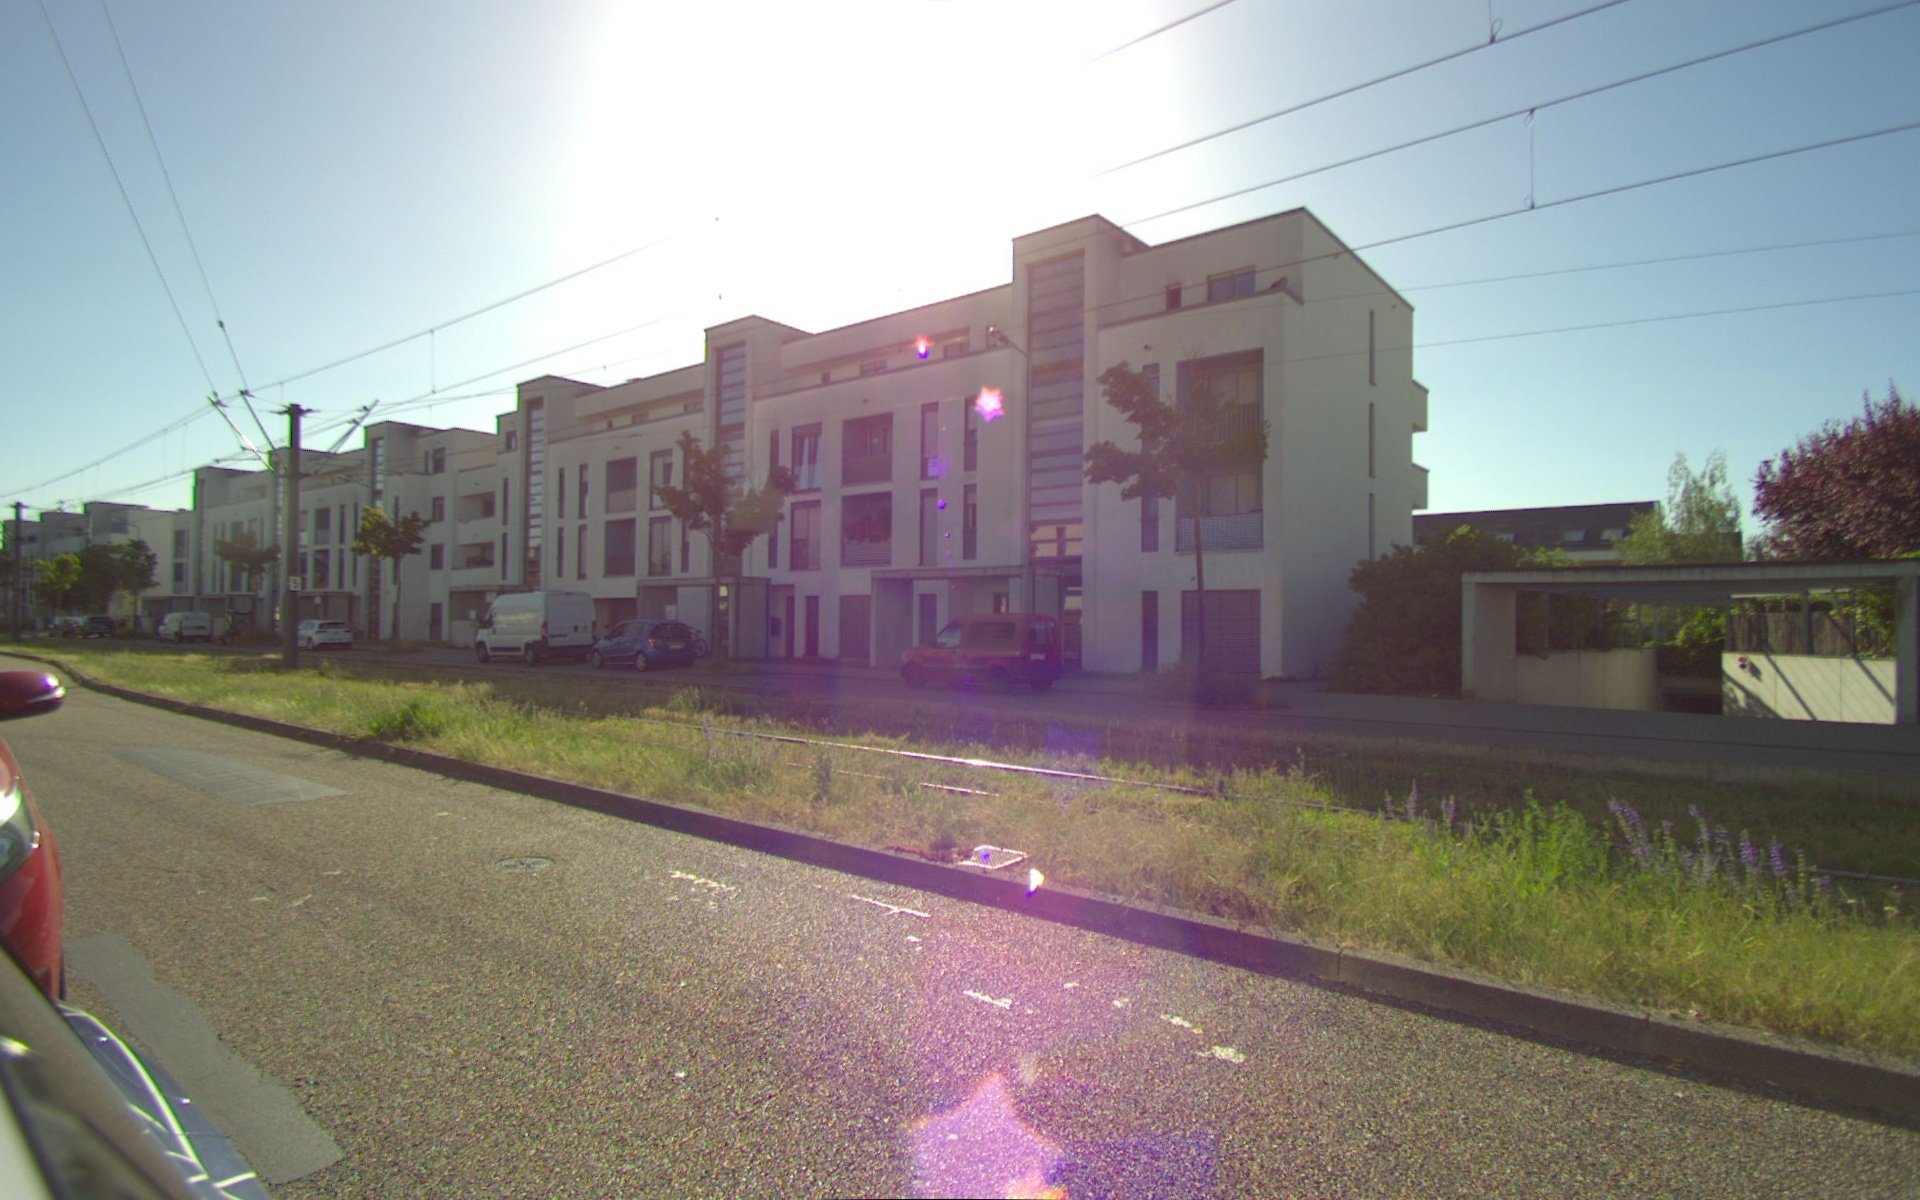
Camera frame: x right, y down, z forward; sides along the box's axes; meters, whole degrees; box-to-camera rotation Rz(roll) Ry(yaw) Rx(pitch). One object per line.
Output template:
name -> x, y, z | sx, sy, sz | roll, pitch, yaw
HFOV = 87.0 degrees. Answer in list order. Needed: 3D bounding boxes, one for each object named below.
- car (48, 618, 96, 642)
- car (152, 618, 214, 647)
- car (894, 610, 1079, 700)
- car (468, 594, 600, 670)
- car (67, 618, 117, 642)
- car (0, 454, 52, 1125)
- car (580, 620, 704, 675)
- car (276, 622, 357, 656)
car -> -67.511, 2.253, 76.935 | 4.277, 1.693, 1.900 | -1, 0, 37
car -> -47.346, 1.959, 61.629 | 4.277, 1.693, 1.900 | -1, 0, 37
car -> 0.546, 1.166, 23.021 | 3.895, 1.842, 1.972 | -1, 0, 43
car -> -15.186, 1.073, 35.947 | 5.193, 2.491, 2.197 | -1, 0, 40
car -> -62.967, 2.162, 73.410 | 4.277, 1.693, 1.900 | -1, 0, 37
car -> -4.903, 0.555, 3.688 | 4.505, 1.868, 1.850 | -1, 0, 41
car -> -9.992, 1.446, 31.742 | 3.833, 1.556, 1.973 | -1, 0, 40
car -> -31.127, 1.836, 48.902 | 4.277, 1.517, 1.900 | -1, 0, 37
